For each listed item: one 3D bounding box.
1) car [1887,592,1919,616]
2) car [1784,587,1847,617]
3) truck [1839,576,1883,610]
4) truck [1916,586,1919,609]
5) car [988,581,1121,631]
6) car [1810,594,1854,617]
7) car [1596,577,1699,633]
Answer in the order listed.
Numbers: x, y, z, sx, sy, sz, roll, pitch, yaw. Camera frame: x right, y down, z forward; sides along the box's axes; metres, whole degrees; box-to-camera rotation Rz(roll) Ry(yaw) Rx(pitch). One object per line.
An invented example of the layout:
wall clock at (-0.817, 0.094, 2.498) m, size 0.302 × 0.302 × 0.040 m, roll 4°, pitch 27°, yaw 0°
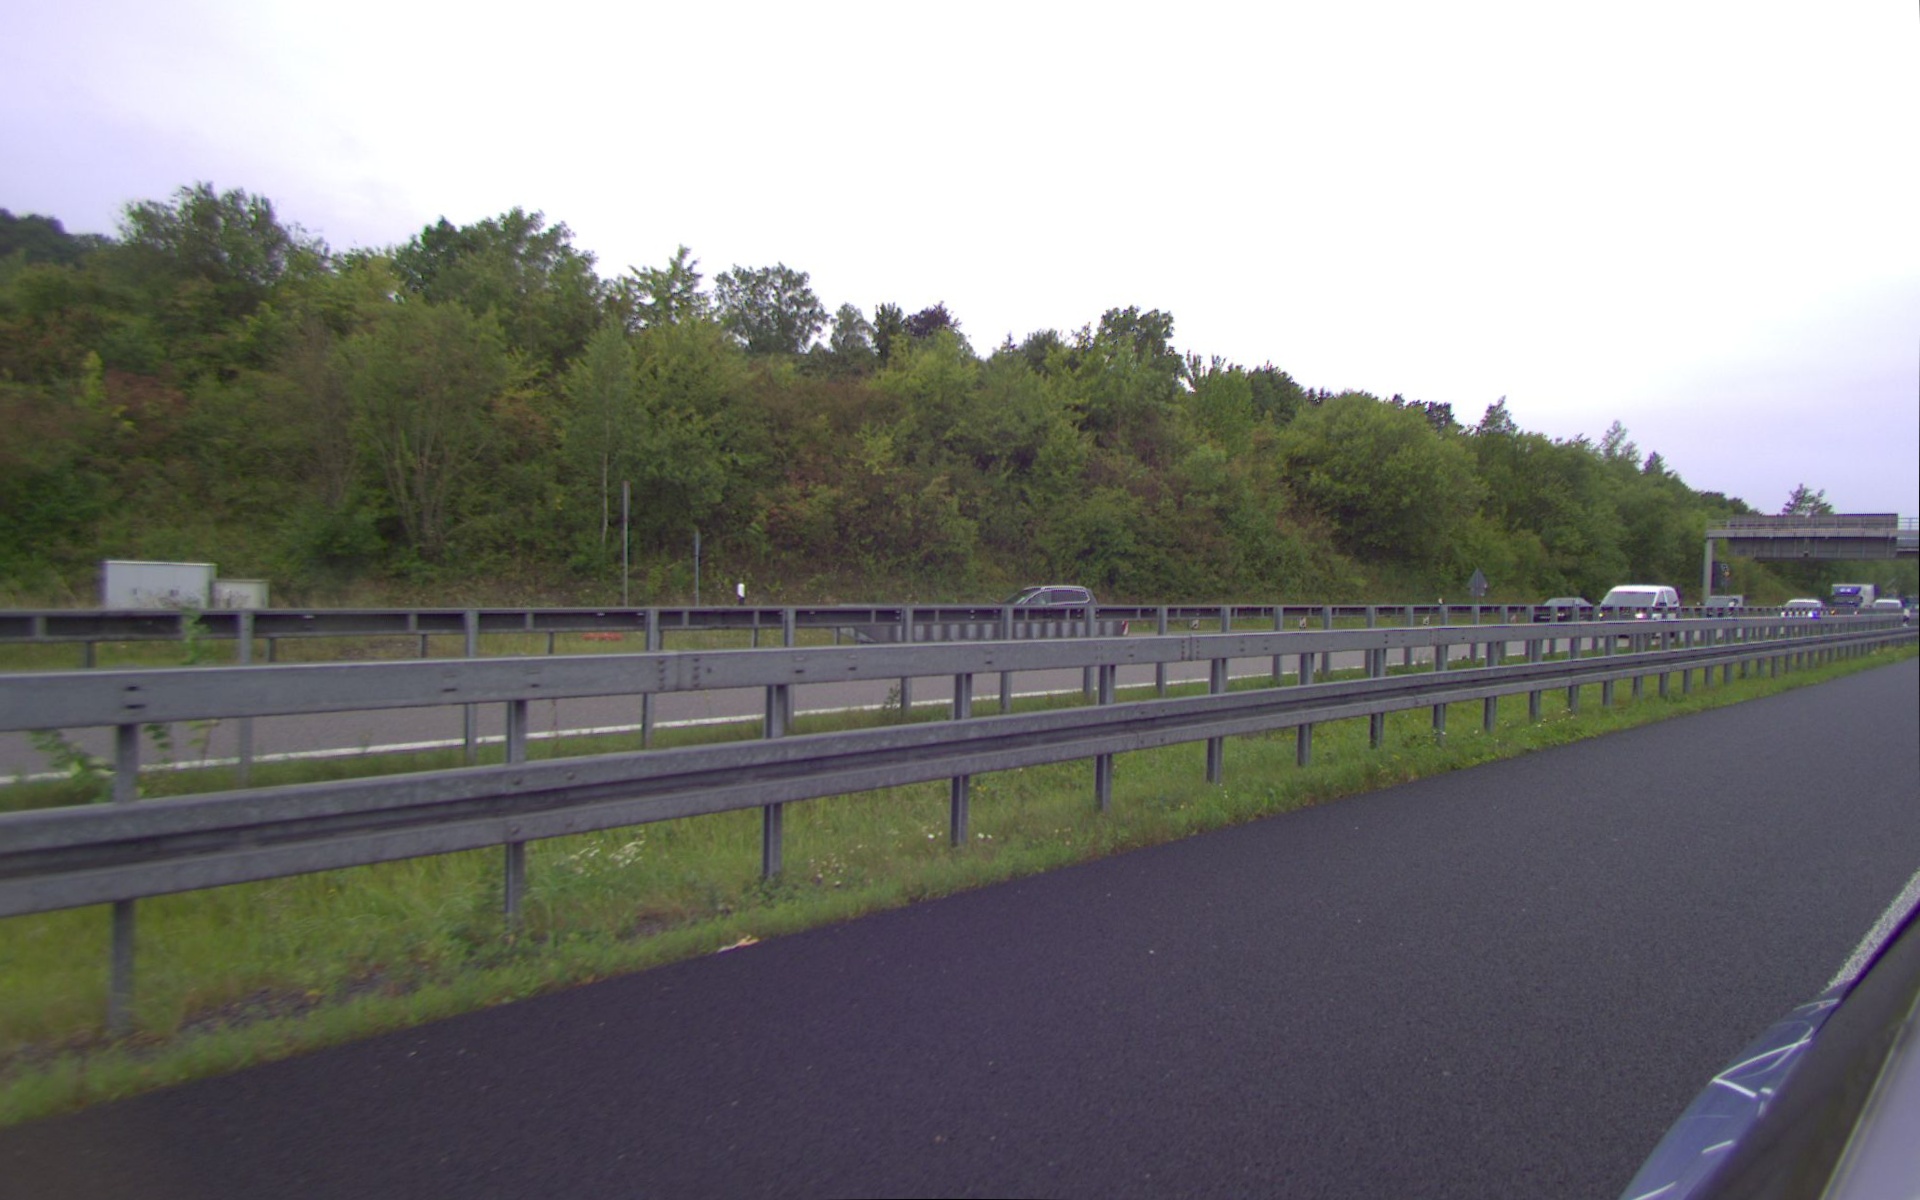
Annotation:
car at (76.694, 0.298, 81.855) m, size 4.201 × 1.837 × 2.011 m, roll 0°, pitch 1°, yaw -41°
car at (46.962, 0.081, 55.533) m, size 4.614 × 1.567 × 2.011 m, roll 0°, pitch 1°, yaw -41°
truck at (97.566, -0.788, 109.569) m, size 9.129 × 3.460 × 2.904 m, roll 0°, pitch 1°, yaw -44°
truck at (149.897, -0.443, 155.952) m, size 13.128 × 3.460 × 2.905 m, roll 0°, pitch 1°, yaw -43°
car at (3.254, 0.179, 34.688) m, size 4.152 × 1.602 × 1.869 m, roll 0°, pitch 1°, yaw -24°
car at (64.287, 0.388, 74.625) m, size 4.074 × 1.633 × 1.900 m, roll 0°, pitch 1°, yaw -41°
car at (23.818, 0.135, 34.983) m, size 4.567 × 1.828 × 1.863 m, roll 0°, pitch 1°, yaw -41°
